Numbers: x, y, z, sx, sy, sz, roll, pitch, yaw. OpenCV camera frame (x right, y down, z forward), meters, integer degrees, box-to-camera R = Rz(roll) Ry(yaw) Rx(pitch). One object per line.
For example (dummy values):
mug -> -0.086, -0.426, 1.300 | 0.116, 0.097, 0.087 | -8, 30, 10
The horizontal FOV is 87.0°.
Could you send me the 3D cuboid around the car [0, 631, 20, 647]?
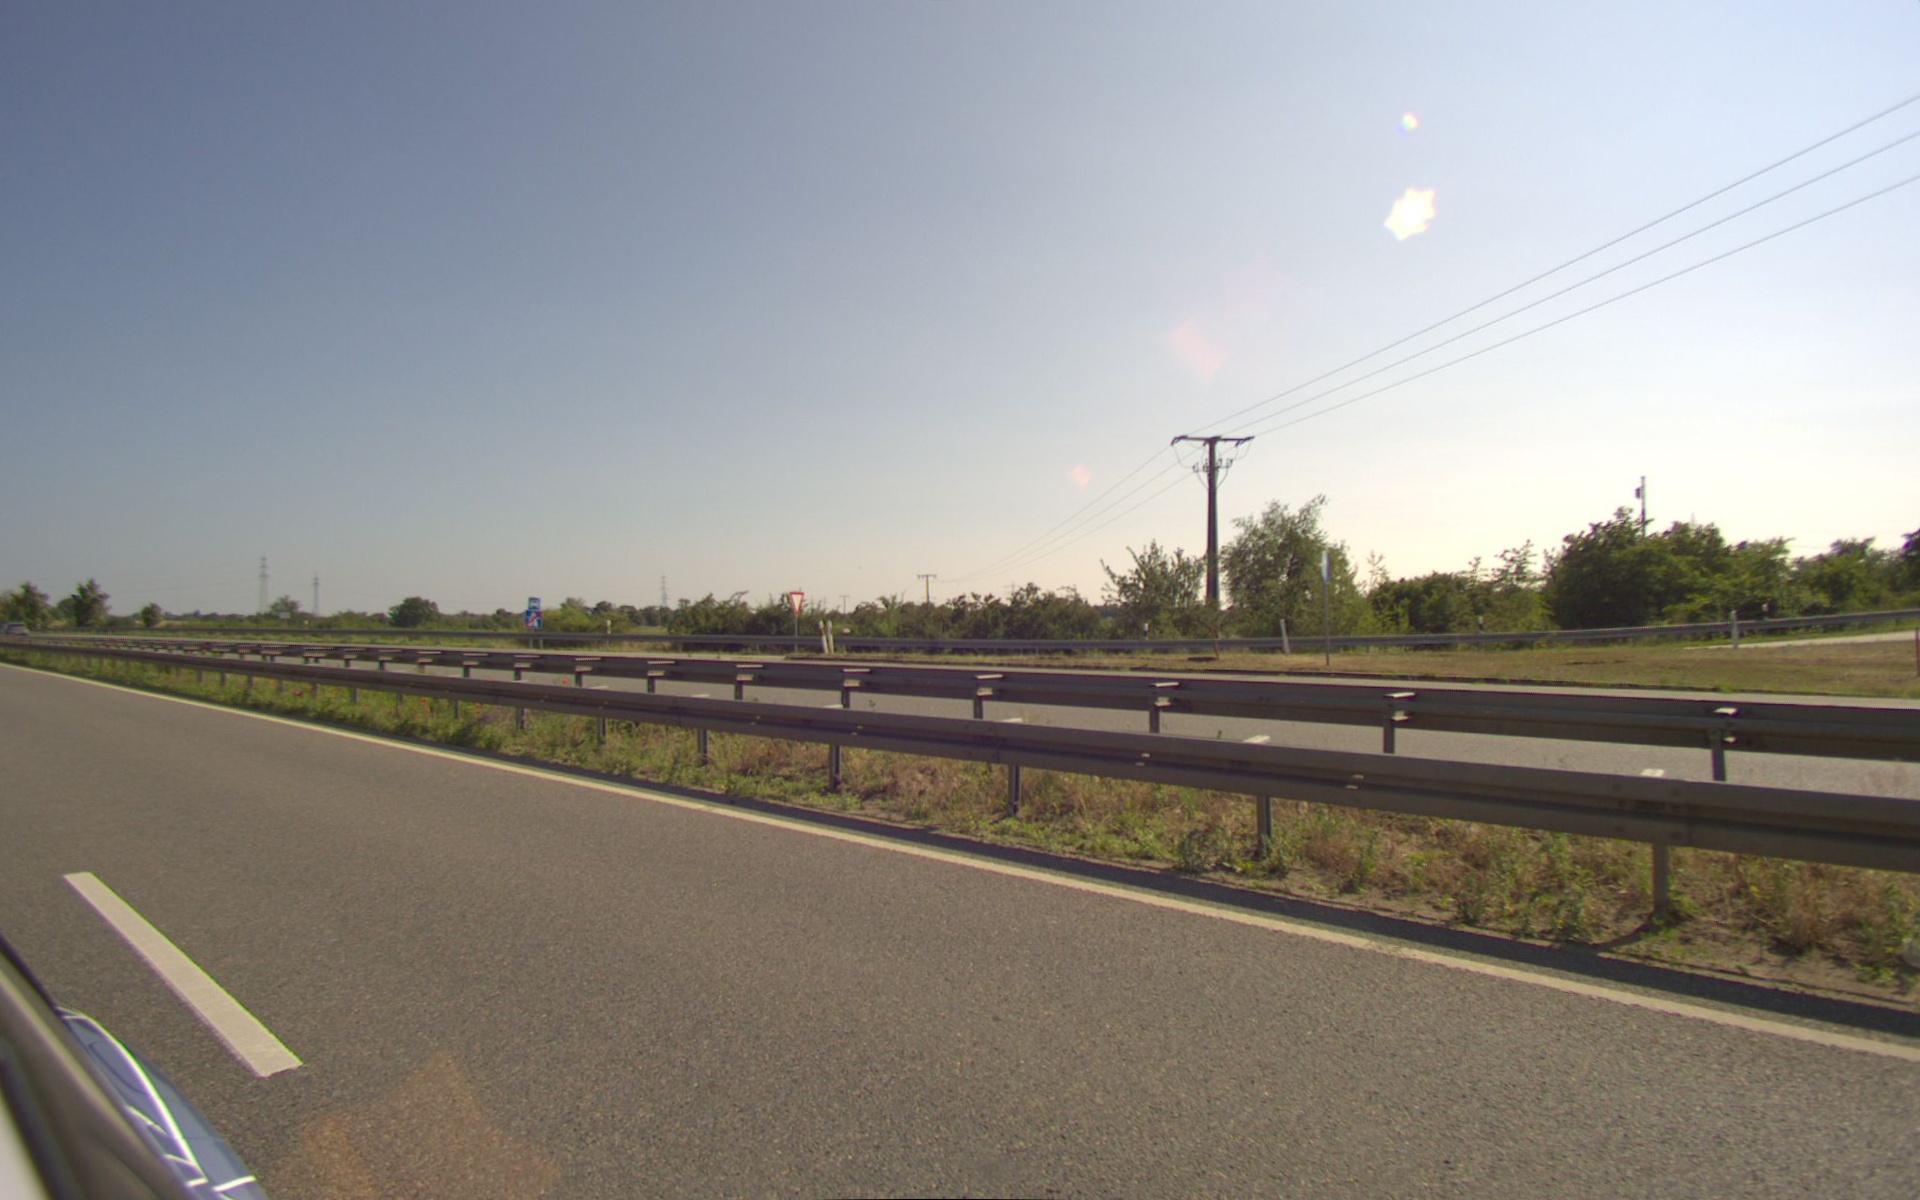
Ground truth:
car -> -94.894, 3.854, 100.501 | 4.616, 1.496, 1.683 | -2, 1, 40
